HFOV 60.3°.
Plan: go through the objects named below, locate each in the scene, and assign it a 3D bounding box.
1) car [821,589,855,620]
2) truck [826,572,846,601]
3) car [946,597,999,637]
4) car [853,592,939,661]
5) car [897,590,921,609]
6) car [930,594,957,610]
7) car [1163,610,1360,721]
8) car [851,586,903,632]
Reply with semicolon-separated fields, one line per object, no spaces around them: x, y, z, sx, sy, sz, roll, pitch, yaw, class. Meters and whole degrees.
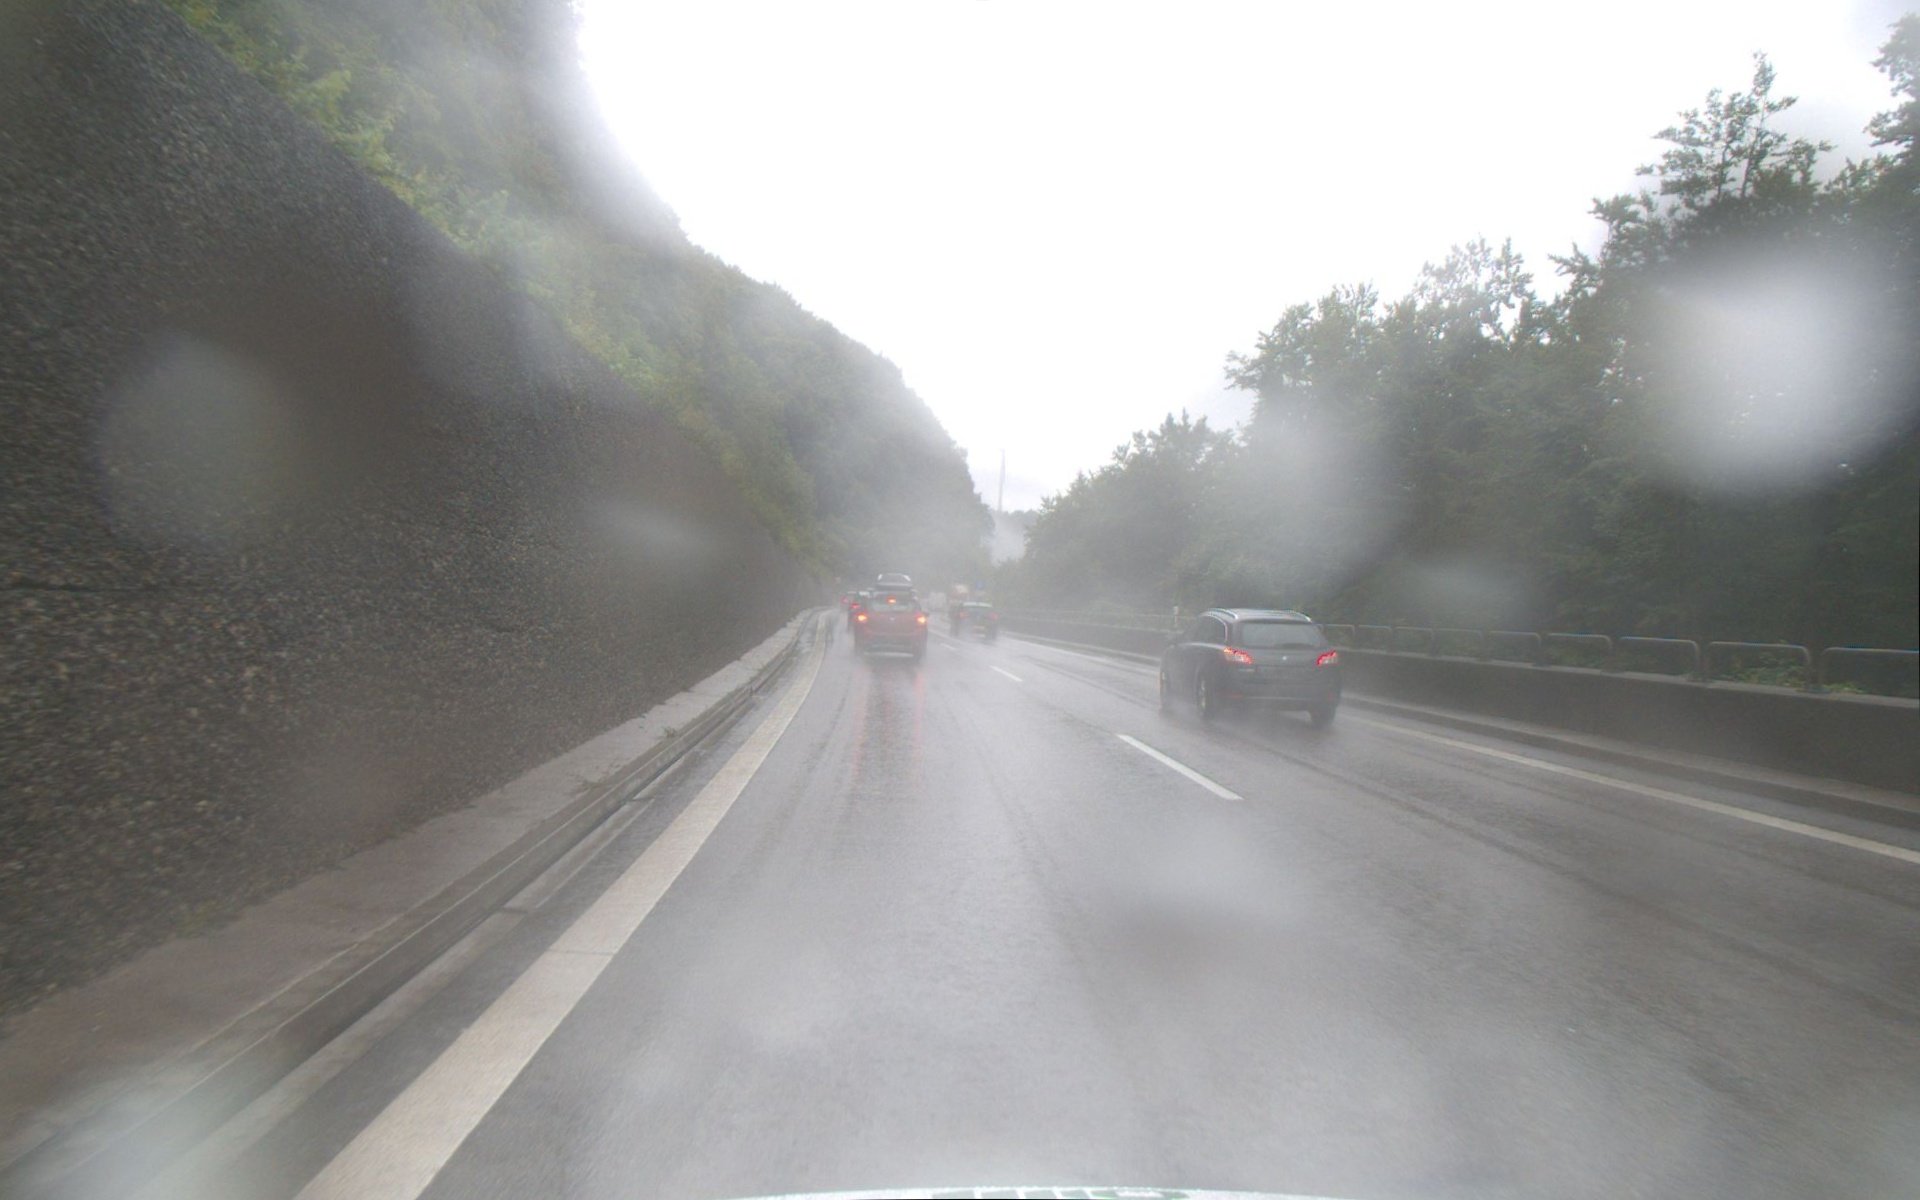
-8.355;0.318;113.131;1.956;2.049;3.992;1;-1;-9;car
-12.291;-1.269;163.870;1.954;2.799;5.581;-1;0;-5;truck
0.507;0.696;69.108;1.954;1.579;3.997;1;0;-3;car
-1.560;0.638;39.911;1.954;1.579;3.997;1;-1;-3;car
-4.556;-0.017;147.204;1.954;1.604;3.997;1;0;-3;car
-2.199;0.202;217.202;2.408;2.049;4.718;1;0;-15;car
3.969;0.820;22.417;1.764;1.330;3.998;1;0;-3;car
-3.247;0.387;65.044;1.953;1.713;3.998;1;-1;-2;car
